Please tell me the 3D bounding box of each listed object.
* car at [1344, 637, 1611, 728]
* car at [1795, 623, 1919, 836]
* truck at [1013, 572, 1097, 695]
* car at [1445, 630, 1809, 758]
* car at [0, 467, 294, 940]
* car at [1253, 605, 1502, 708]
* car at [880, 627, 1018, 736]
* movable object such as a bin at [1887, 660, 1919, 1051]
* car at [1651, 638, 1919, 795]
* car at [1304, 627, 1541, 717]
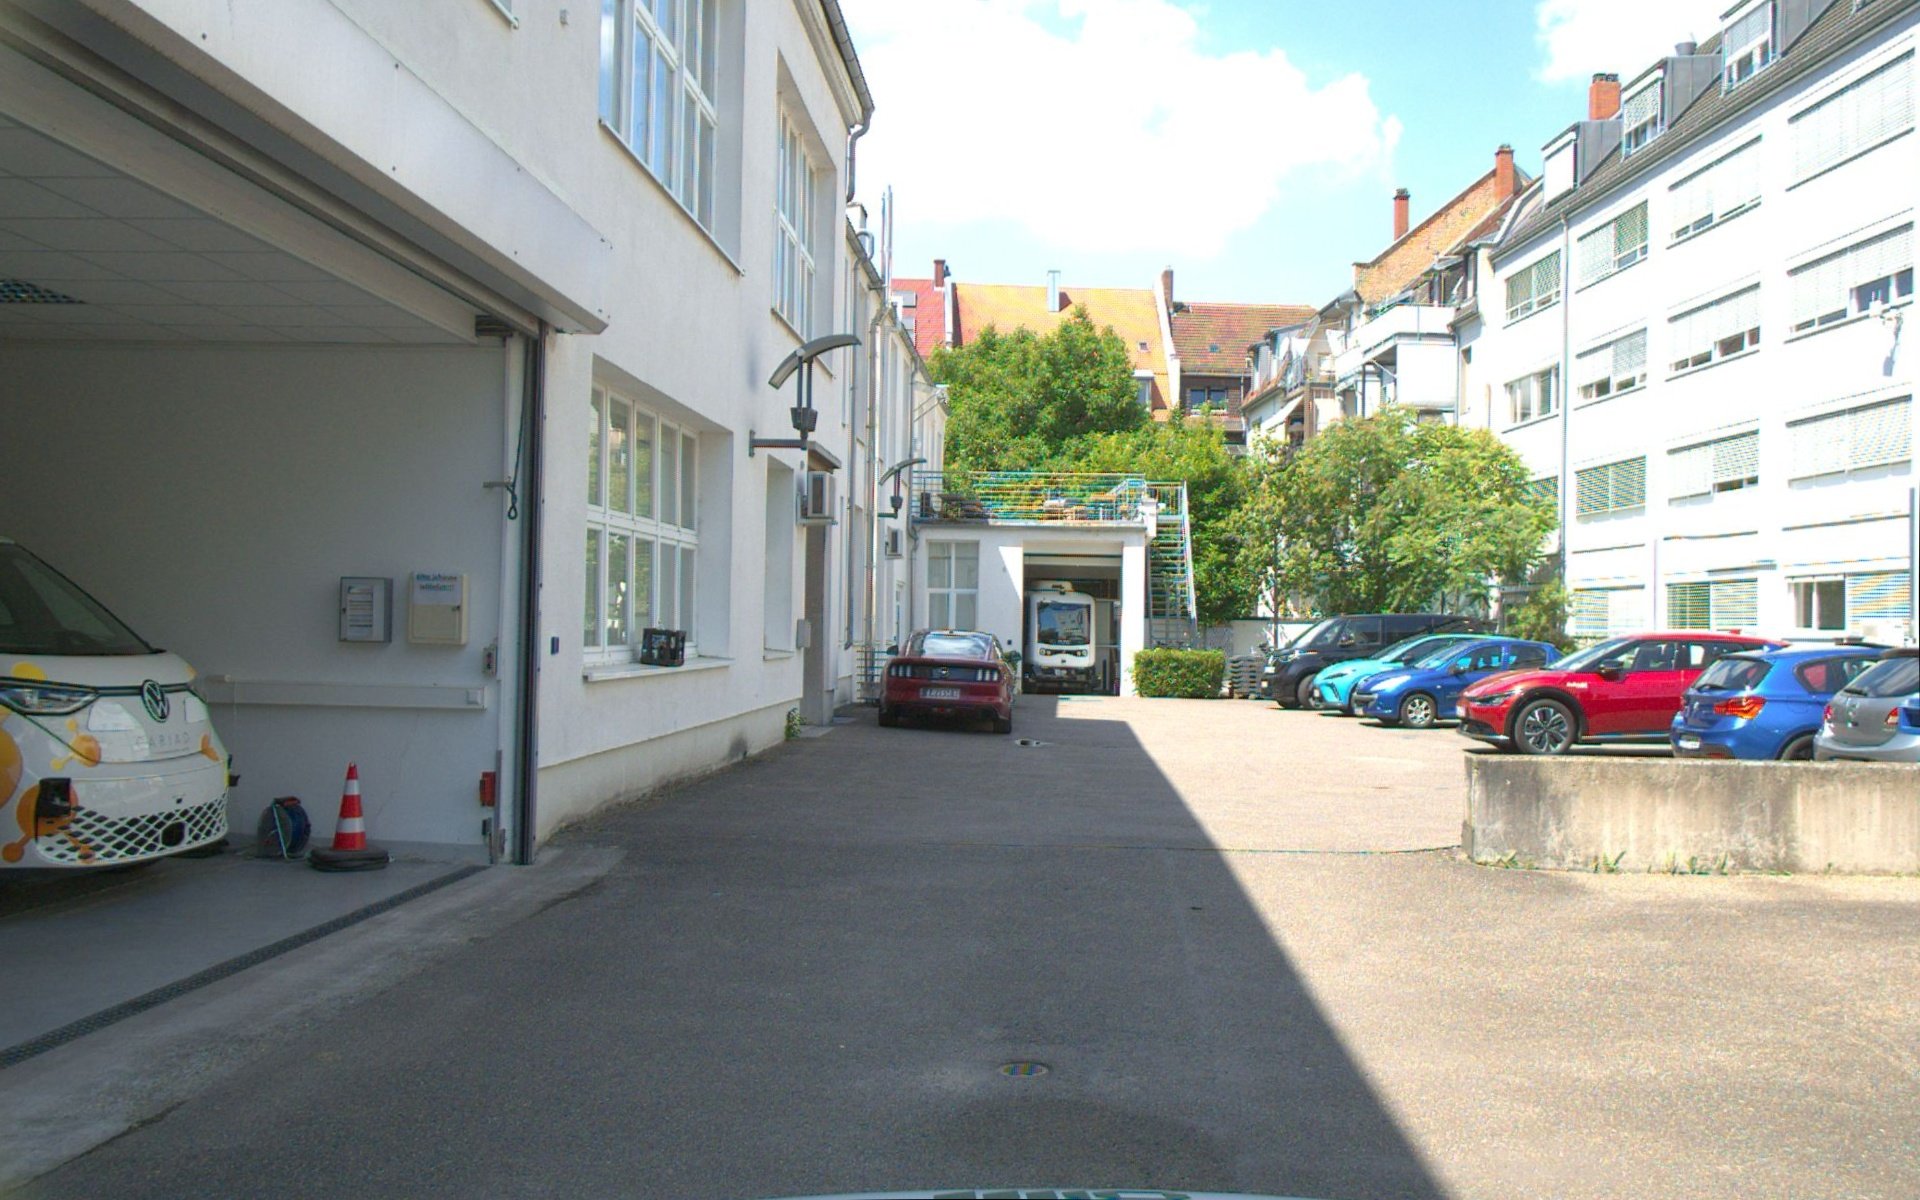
[{"bbox_3d":[8.552,1.350,27.567,3.904,1.415,1.805,0,-1,2],"label":"car"},{"bbox_3d":[8.750,0.944,12.566,3.904,1.504,1.805,0,-1,2],"label":"car"},{"bbox_3d":[2.415,0.875,43.037,1.752,2.989,4.651,1,-1,-2],"label":"truck"},{"bbox_3d":[8.334,1.151,20.929,3.904,1.504,1.805,0,-1,2],"label":"car"},{"bbox_3d":[-6.012,0.399,8.384,4.385,2.060,1.981,2,-1,4],"label":"car"},{"bbox_3d":[8.408,1.118,33.614,4.580,1.992,2.077,0,-1,2],"label":"car"},{"bbox_3d":[-0.078,1.118,24.097,1.761,1.414,4.001,1,-1,3],"label":"car"},{"bbox_3d":[3.902,0.888,5.357,1.168,1.350,1.160,0,-1,2],"label":"movable object such as a bin"},{"bbox_3d":[9.036,1.100,16.088,3.904,1.415,1.805,0,-1,2],"label":"car"},{"bbox_3d":[8.474,1.303,30.560,3.904,1.561,1.805,0,-1,2],"label":"car"}]
